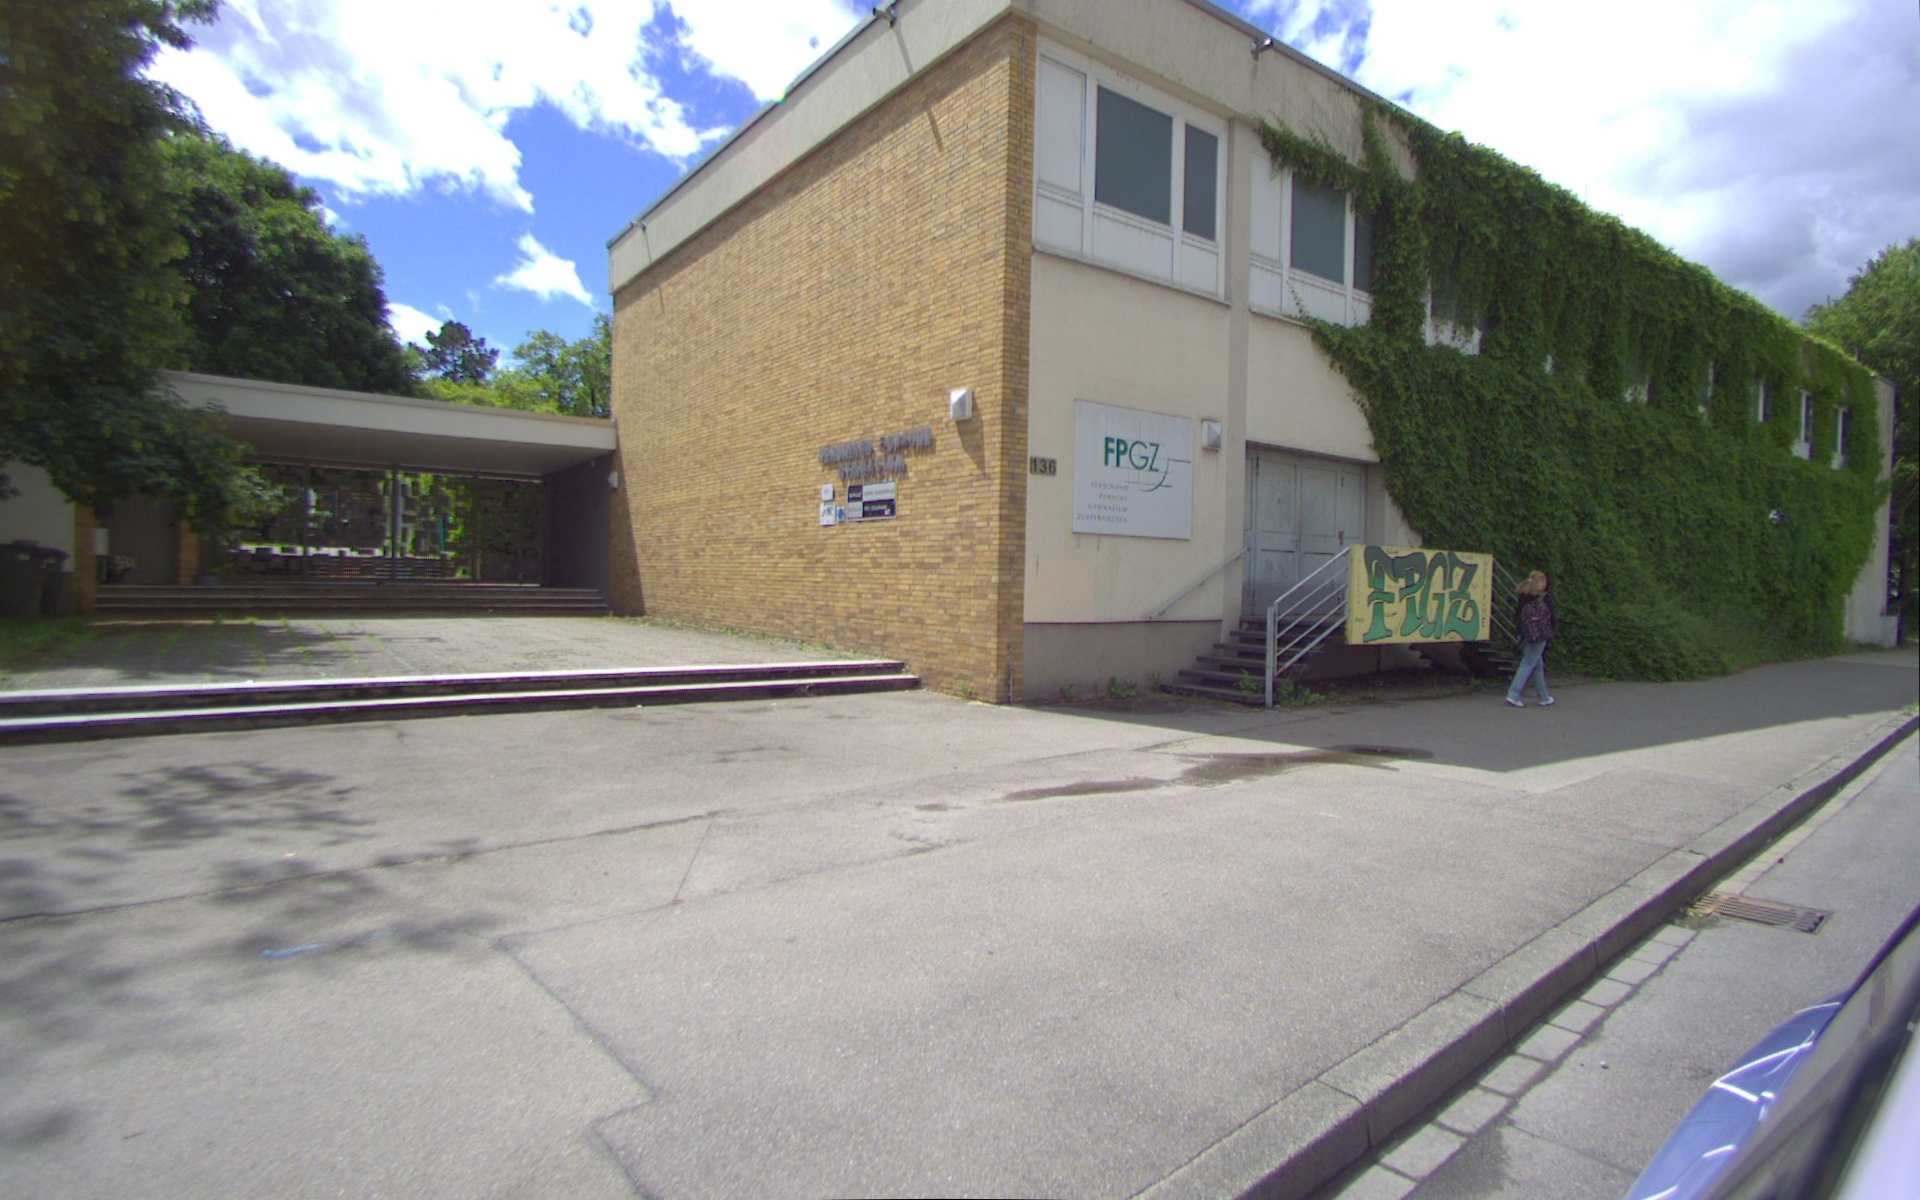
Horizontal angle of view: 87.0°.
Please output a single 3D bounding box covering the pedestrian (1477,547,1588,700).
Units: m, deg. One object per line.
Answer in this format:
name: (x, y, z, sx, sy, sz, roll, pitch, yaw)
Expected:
pedestrian: (7.040, 0.261, 12.461, 0.800, 1.792, 0.813, 0, 3, -31)
